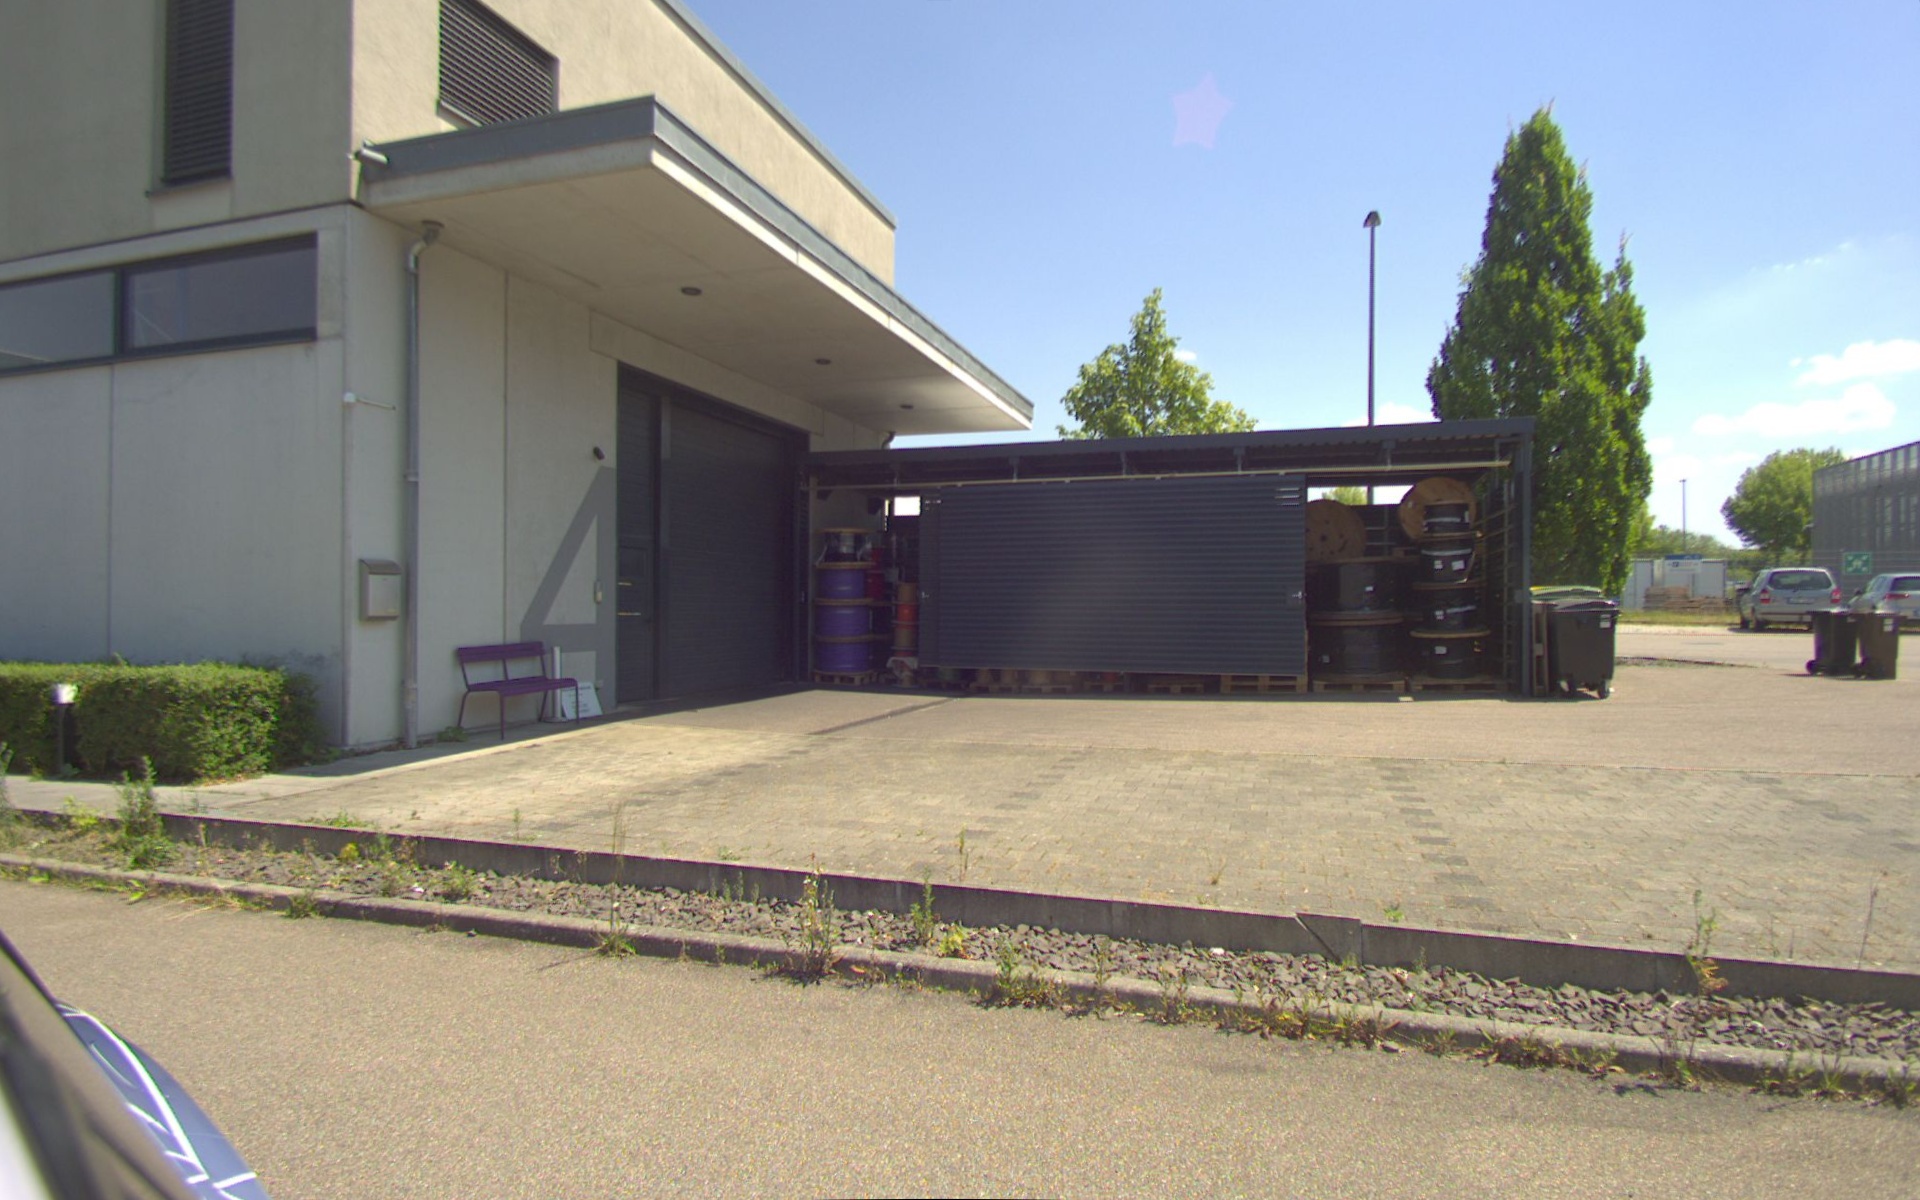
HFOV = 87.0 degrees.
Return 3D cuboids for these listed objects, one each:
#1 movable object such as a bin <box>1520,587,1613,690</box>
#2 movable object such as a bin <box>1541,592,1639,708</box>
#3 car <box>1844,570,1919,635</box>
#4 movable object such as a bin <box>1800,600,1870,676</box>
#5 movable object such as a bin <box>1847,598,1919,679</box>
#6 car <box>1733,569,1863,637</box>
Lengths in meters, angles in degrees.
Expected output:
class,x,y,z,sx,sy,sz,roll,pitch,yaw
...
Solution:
class,x,y,z,sx,sy,sz,roll,pitch,yaw
movable object such as a bin,8.180,0.504,13.690,0.967,1.340,0.704,-1,-1,24
movable object such as a bin,7.685,0.592,12.390,0.879,1.355,0.807,-1,-1,24
car,23.293,0.034,24.629,1.993,1.503,3.957,1,1,32
movable object such as a bin,12.198,0.517,14.118,0.418,1.035,0.583,0,0,-15
movable object such as a bin,12.350,0.505,13.539,0.418,1.044,0.580,0,0,-15
car,21.429,0.023,26.060,1.993,1.602,3.957,1,1,32
